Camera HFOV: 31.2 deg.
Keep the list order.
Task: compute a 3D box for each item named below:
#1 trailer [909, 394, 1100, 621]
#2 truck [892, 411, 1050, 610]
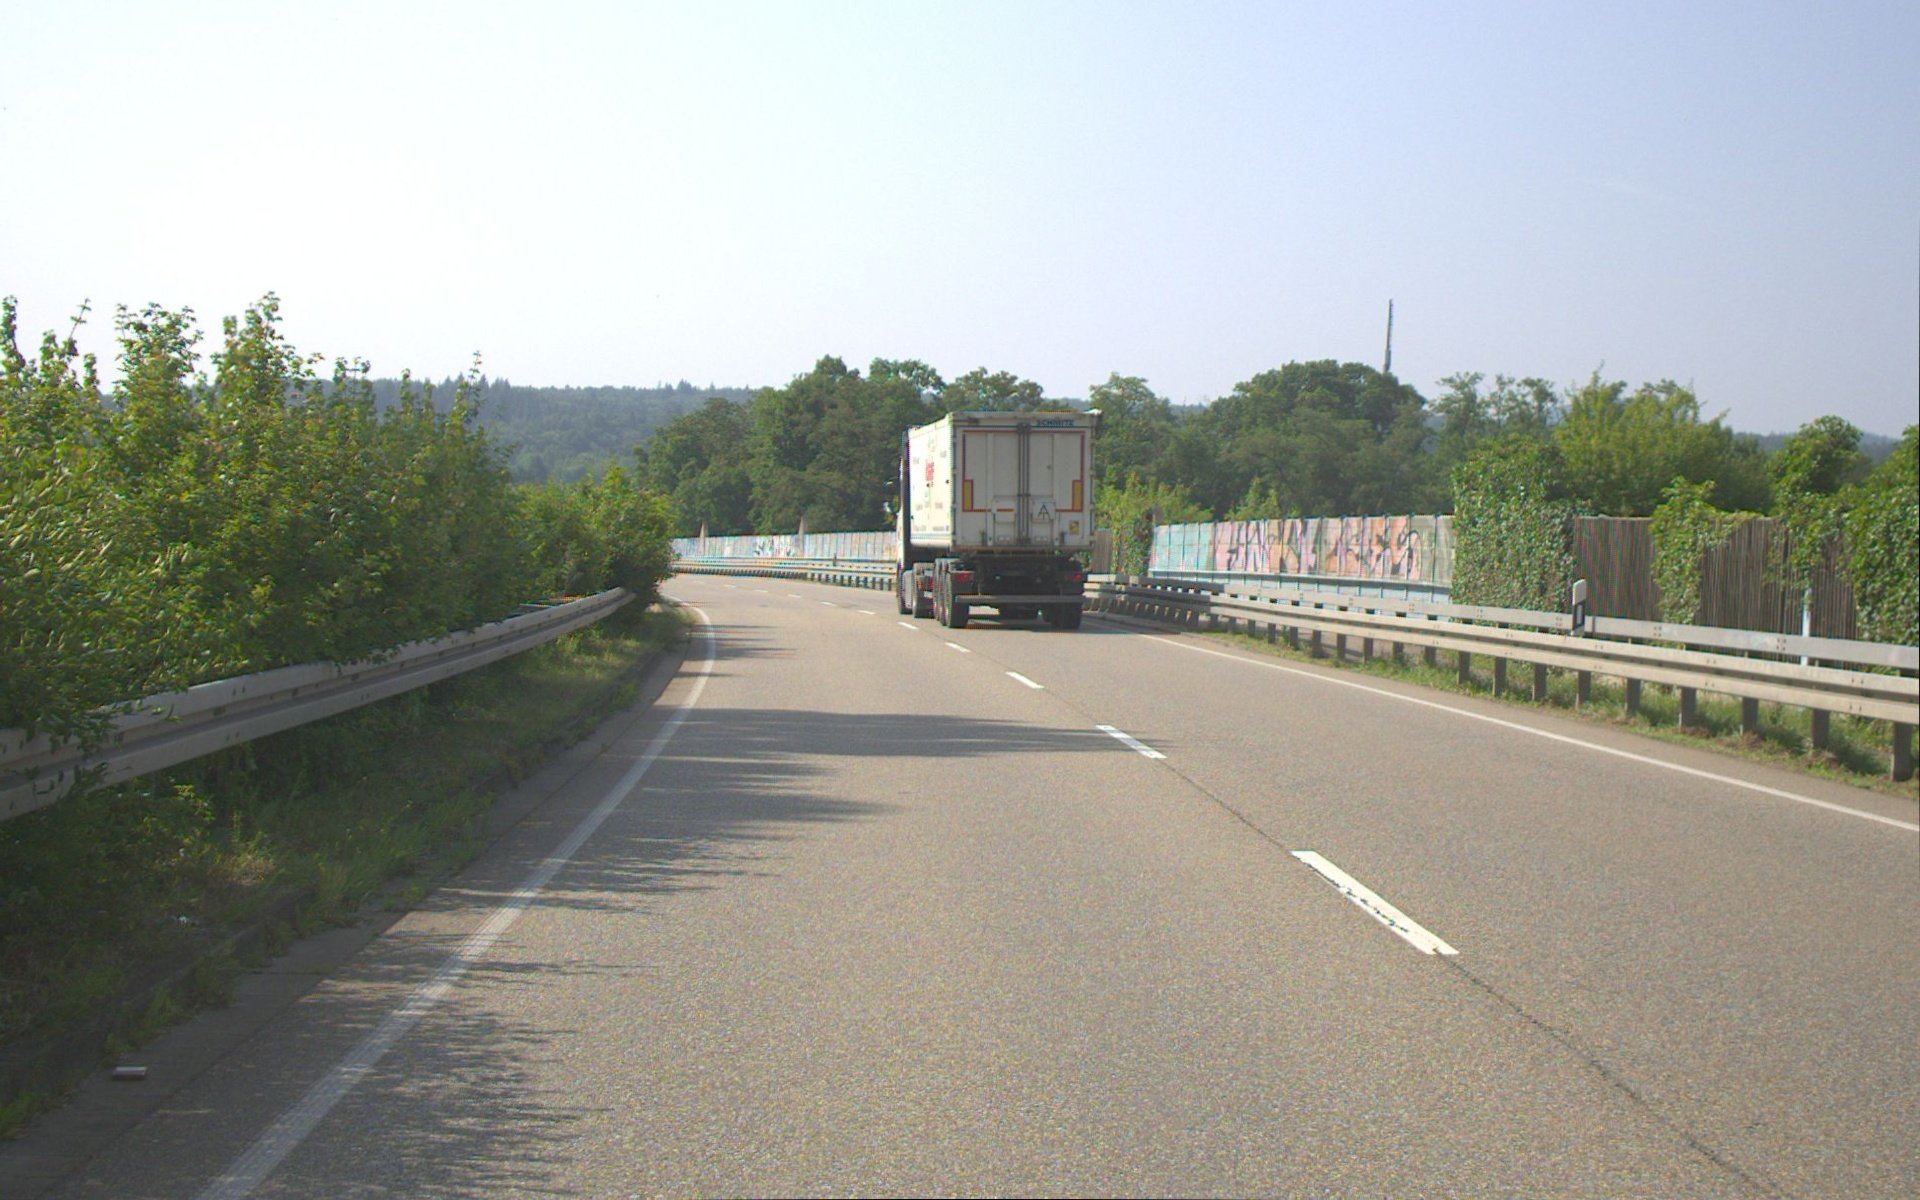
[{"bbox_3d":[0.707,-1.703,64.865,2.679,3.894,9.674,1,1,-4],"label":"trailer"},{"bbox_3d":[0.164,-1.836,70.877,2.658,3.882,5.649,1,1,-5],"label":"truck"}]
